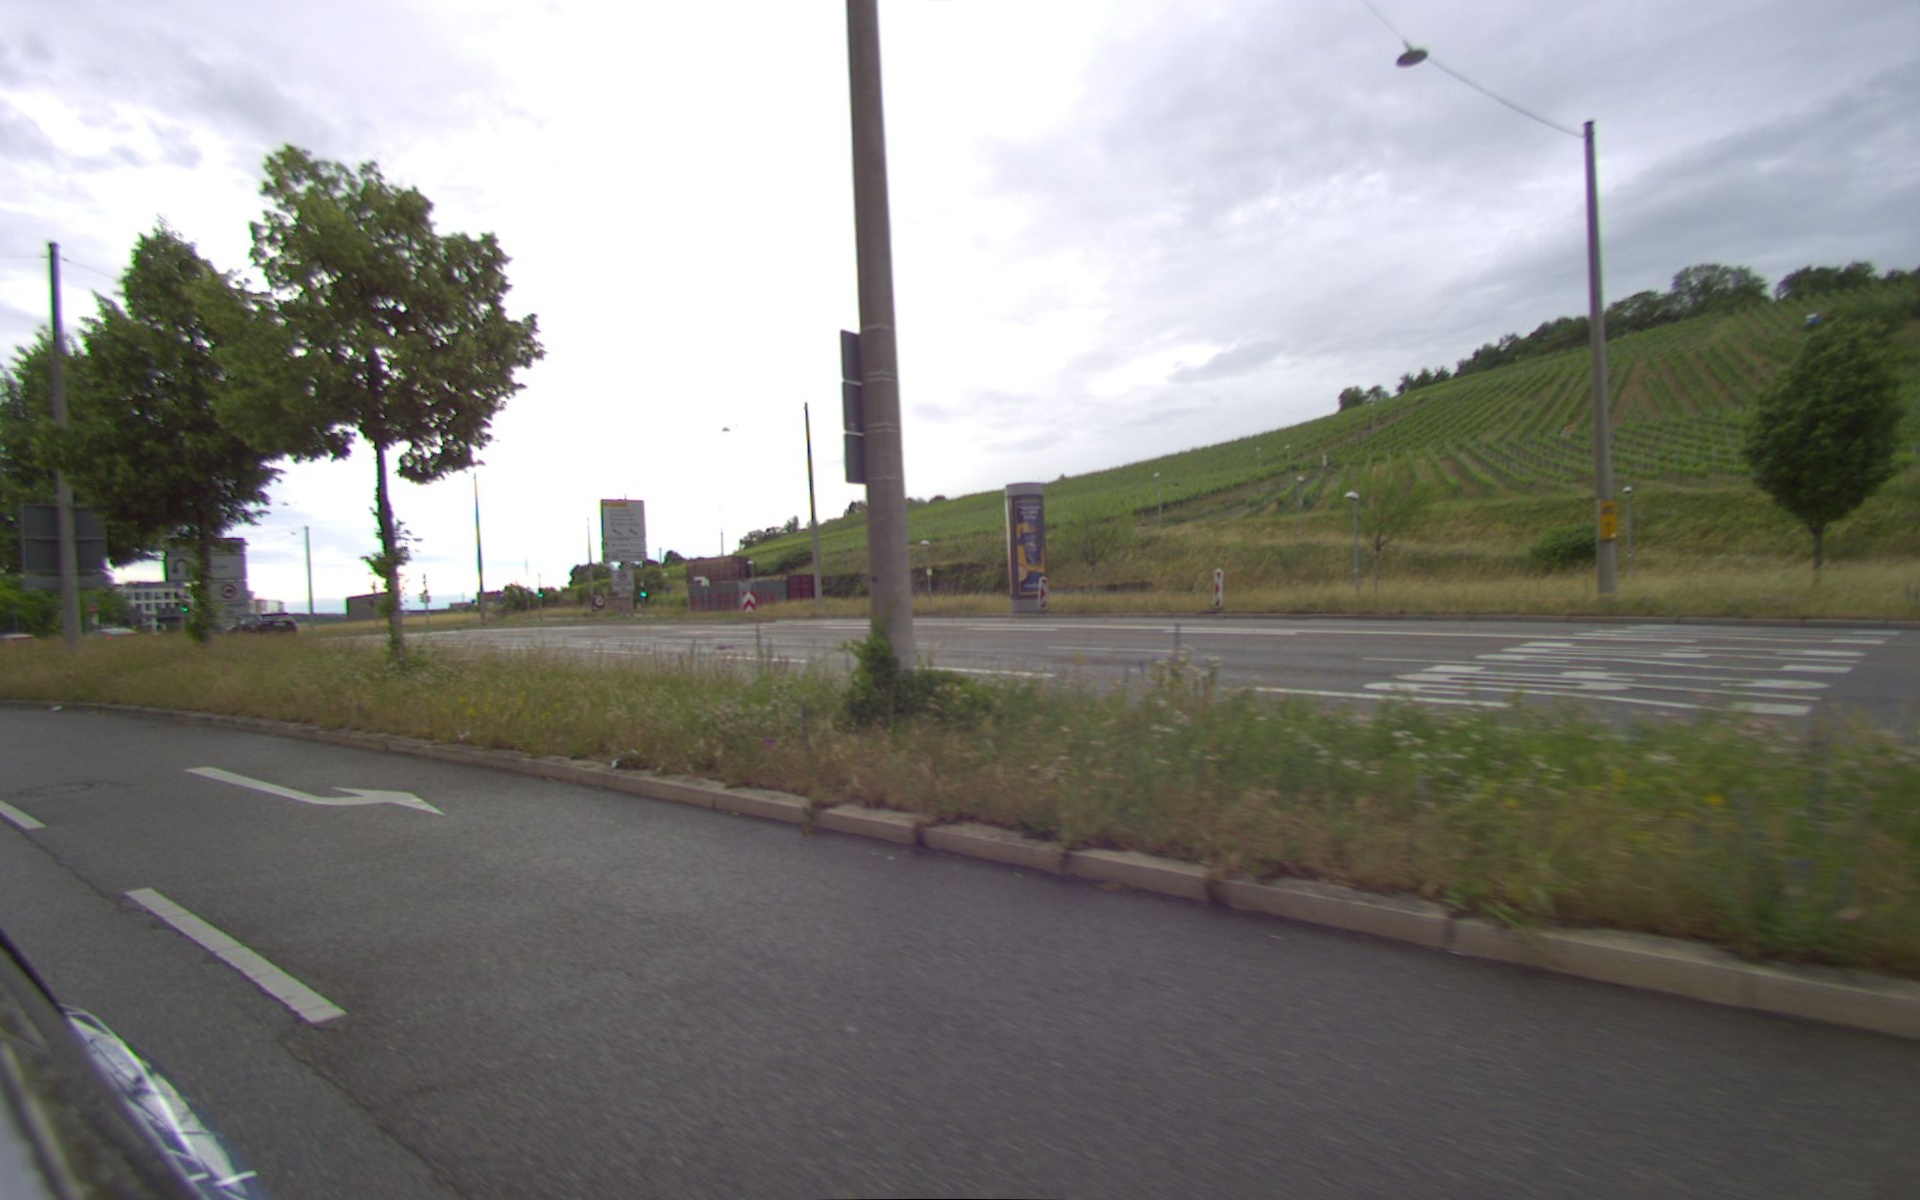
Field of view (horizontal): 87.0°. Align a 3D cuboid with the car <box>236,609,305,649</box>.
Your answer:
[{"bbox_3d":[-33.655,1.427,49.331,3.997,1.763,1.749,-2,0,41],"label":"car"}]

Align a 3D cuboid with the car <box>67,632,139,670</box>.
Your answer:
[{"bbox_3d":[-41.557,2.445,49.028,4.353,1.666,1.860,-2,0,39],"label":"car"}]
